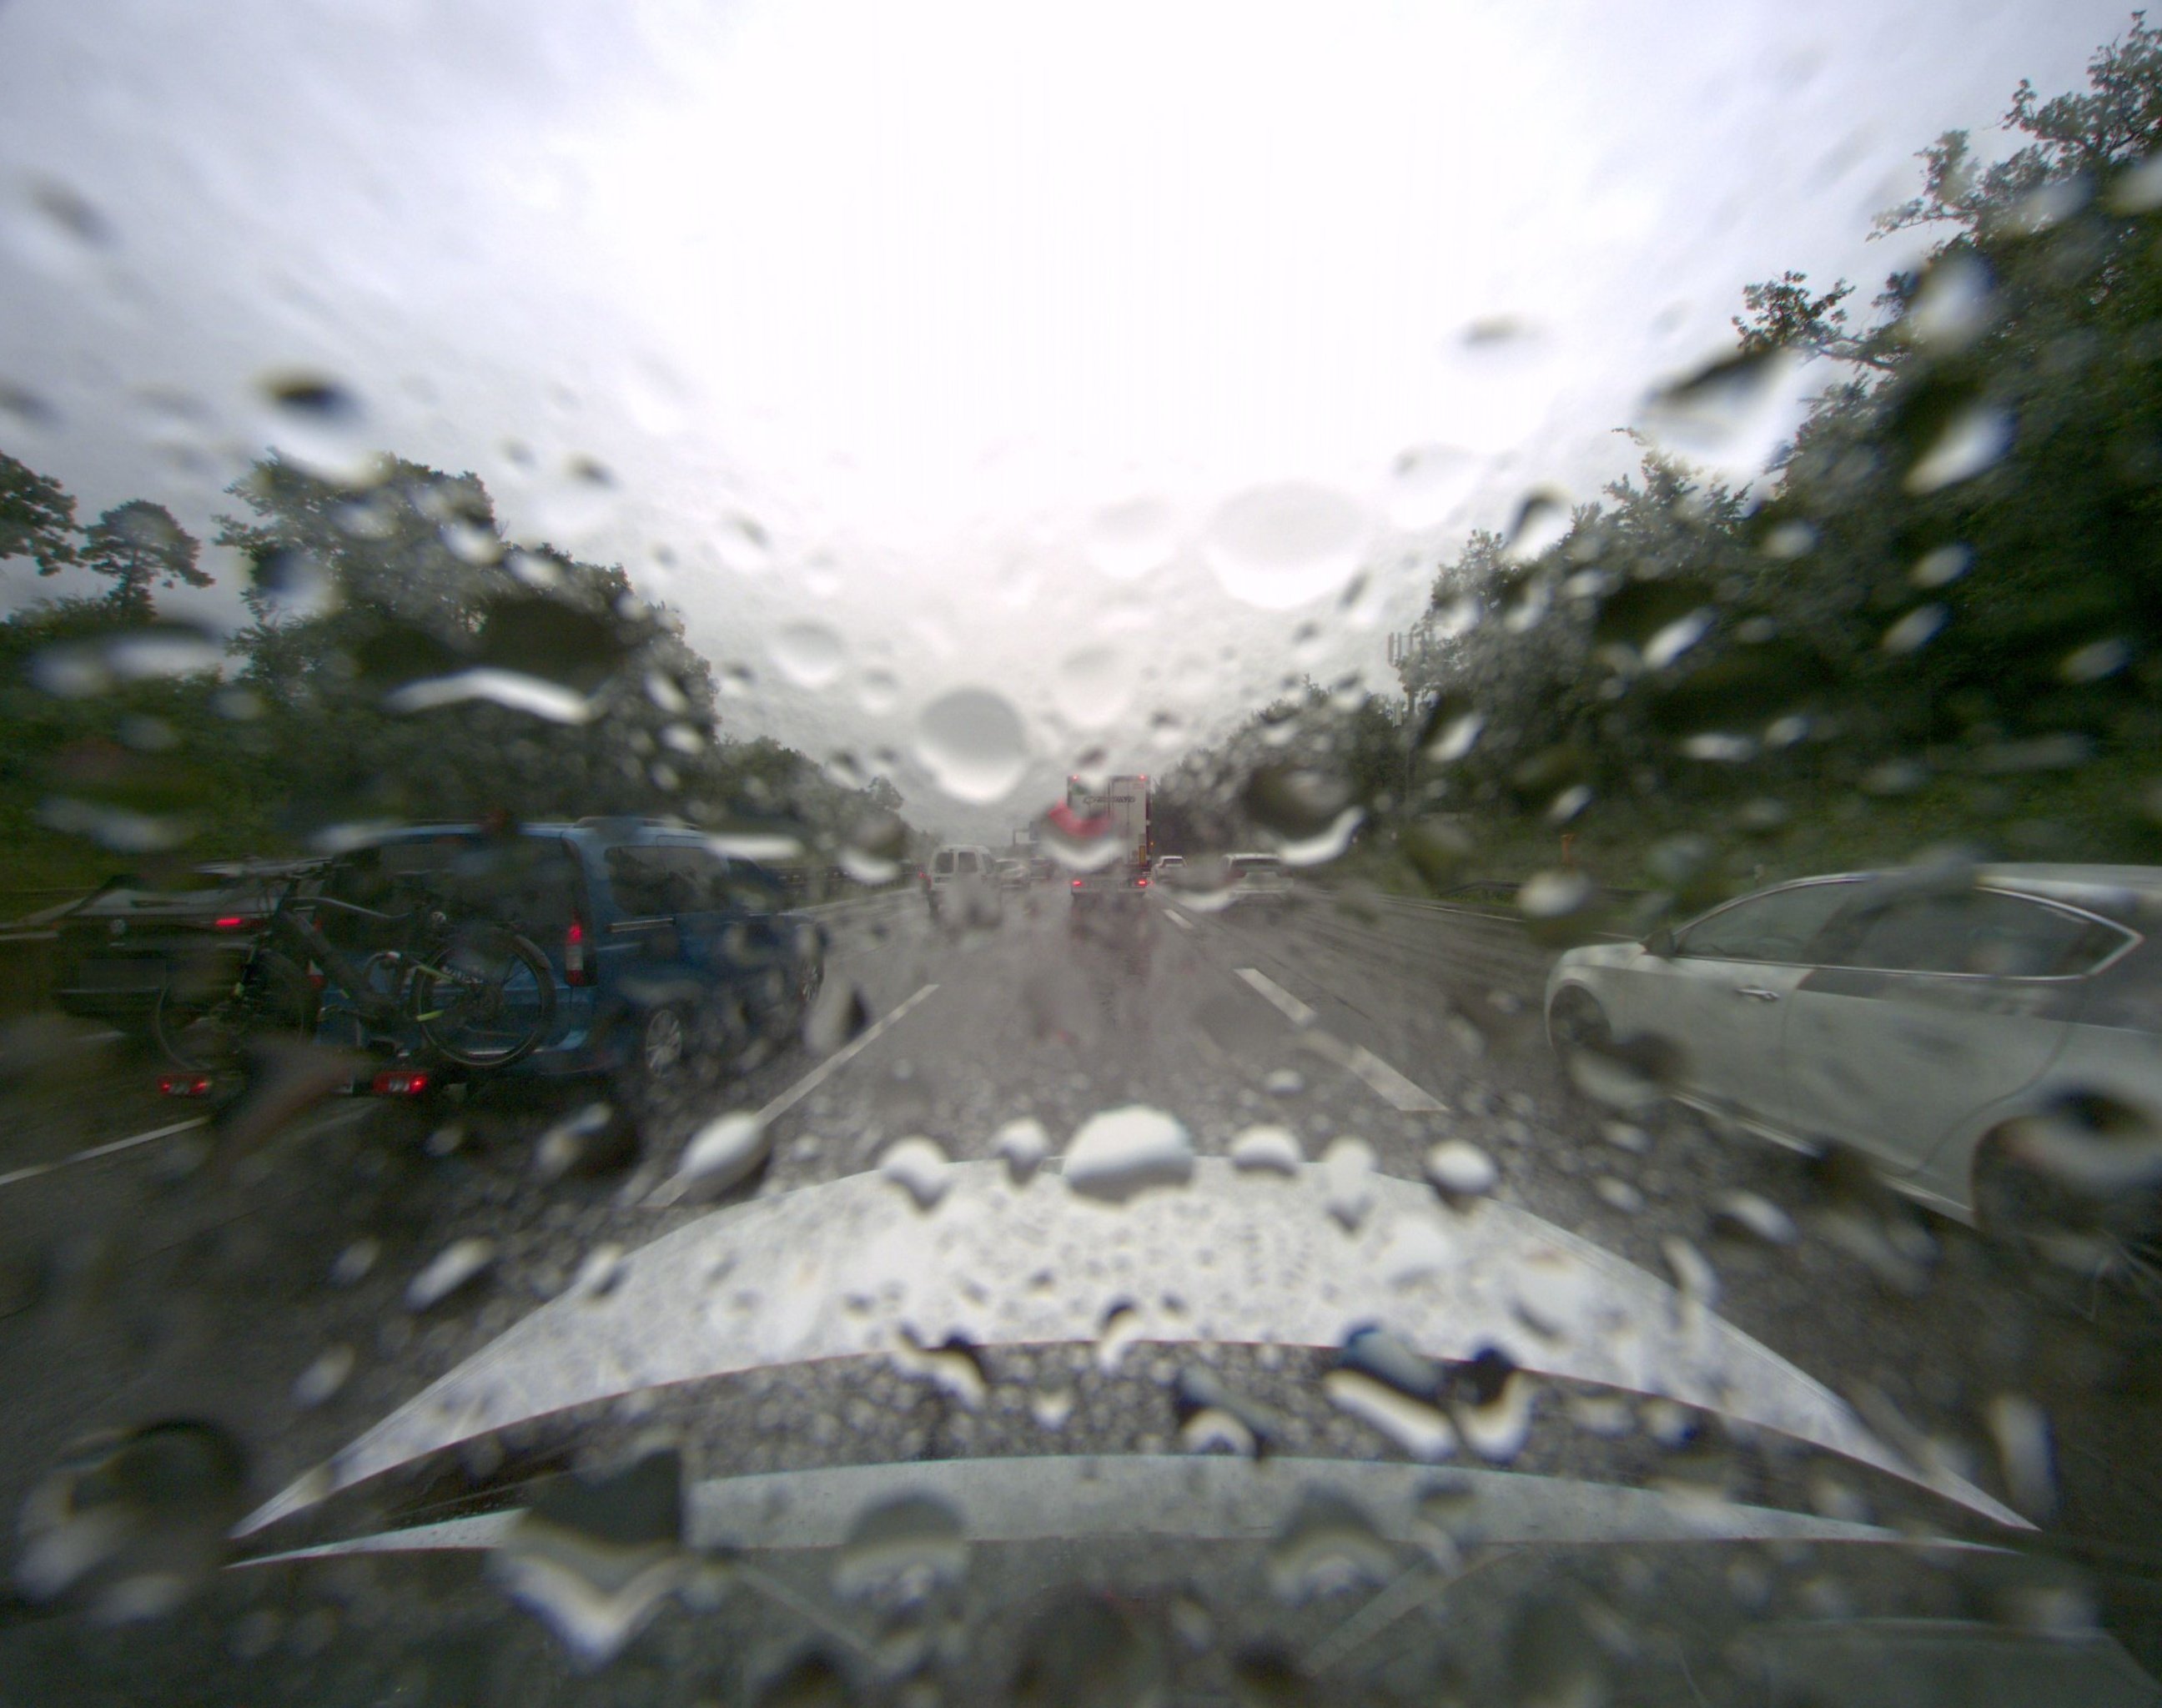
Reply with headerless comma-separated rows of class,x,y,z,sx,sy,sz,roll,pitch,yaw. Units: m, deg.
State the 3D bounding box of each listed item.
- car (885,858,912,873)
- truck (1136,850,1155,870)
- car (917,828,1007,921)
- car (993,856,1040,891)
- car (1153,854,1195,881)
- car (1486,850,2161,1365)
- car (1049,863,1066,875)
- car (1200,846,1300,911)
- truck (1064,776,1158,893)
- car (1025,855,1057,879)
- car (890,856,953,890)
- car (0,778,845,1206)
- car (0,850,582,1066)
car,-19.243,1.199,85.967,1.830,1.497,4.607,-1,0,-1
truck,9.703,0.895,123.199,2.579,2.941,6.459,-1,0,2
car,-3.545,0.565,25.274,2.207,2.573,5.011,-1,0,-2
car,-3.156,0.939,40.585,1.838,1.591,4.074,-1,0,2
car,5.277,0.739,46.788,2.000,1.394,4.569,-1,0,1
car,4.035,0.704,4.121,1.882,1.425,4.485,-1,0,2
car,-2.711,1.719,93.712,1.840,1.330,4.464,-1,0,-1
car,4.315,0.574,21.391,1.839,1.522,4.345,-1,0,2
truck,1.047,-0.546,30.753,2.862,3.562,11.304,-1,-1,1
car,-2.716,0.882,56.313,1.838,1.591,4.469,-1,0,2
car,-7.878,0.885,40.661,2.083,1.504,4.755,-2,0,1
car,-3.775,0.623,6.184,2.260,1.912,5.019,-1,0,3
car,-7.439,0.771,8.283,1.838,1.591,4.469,-1,0,2
